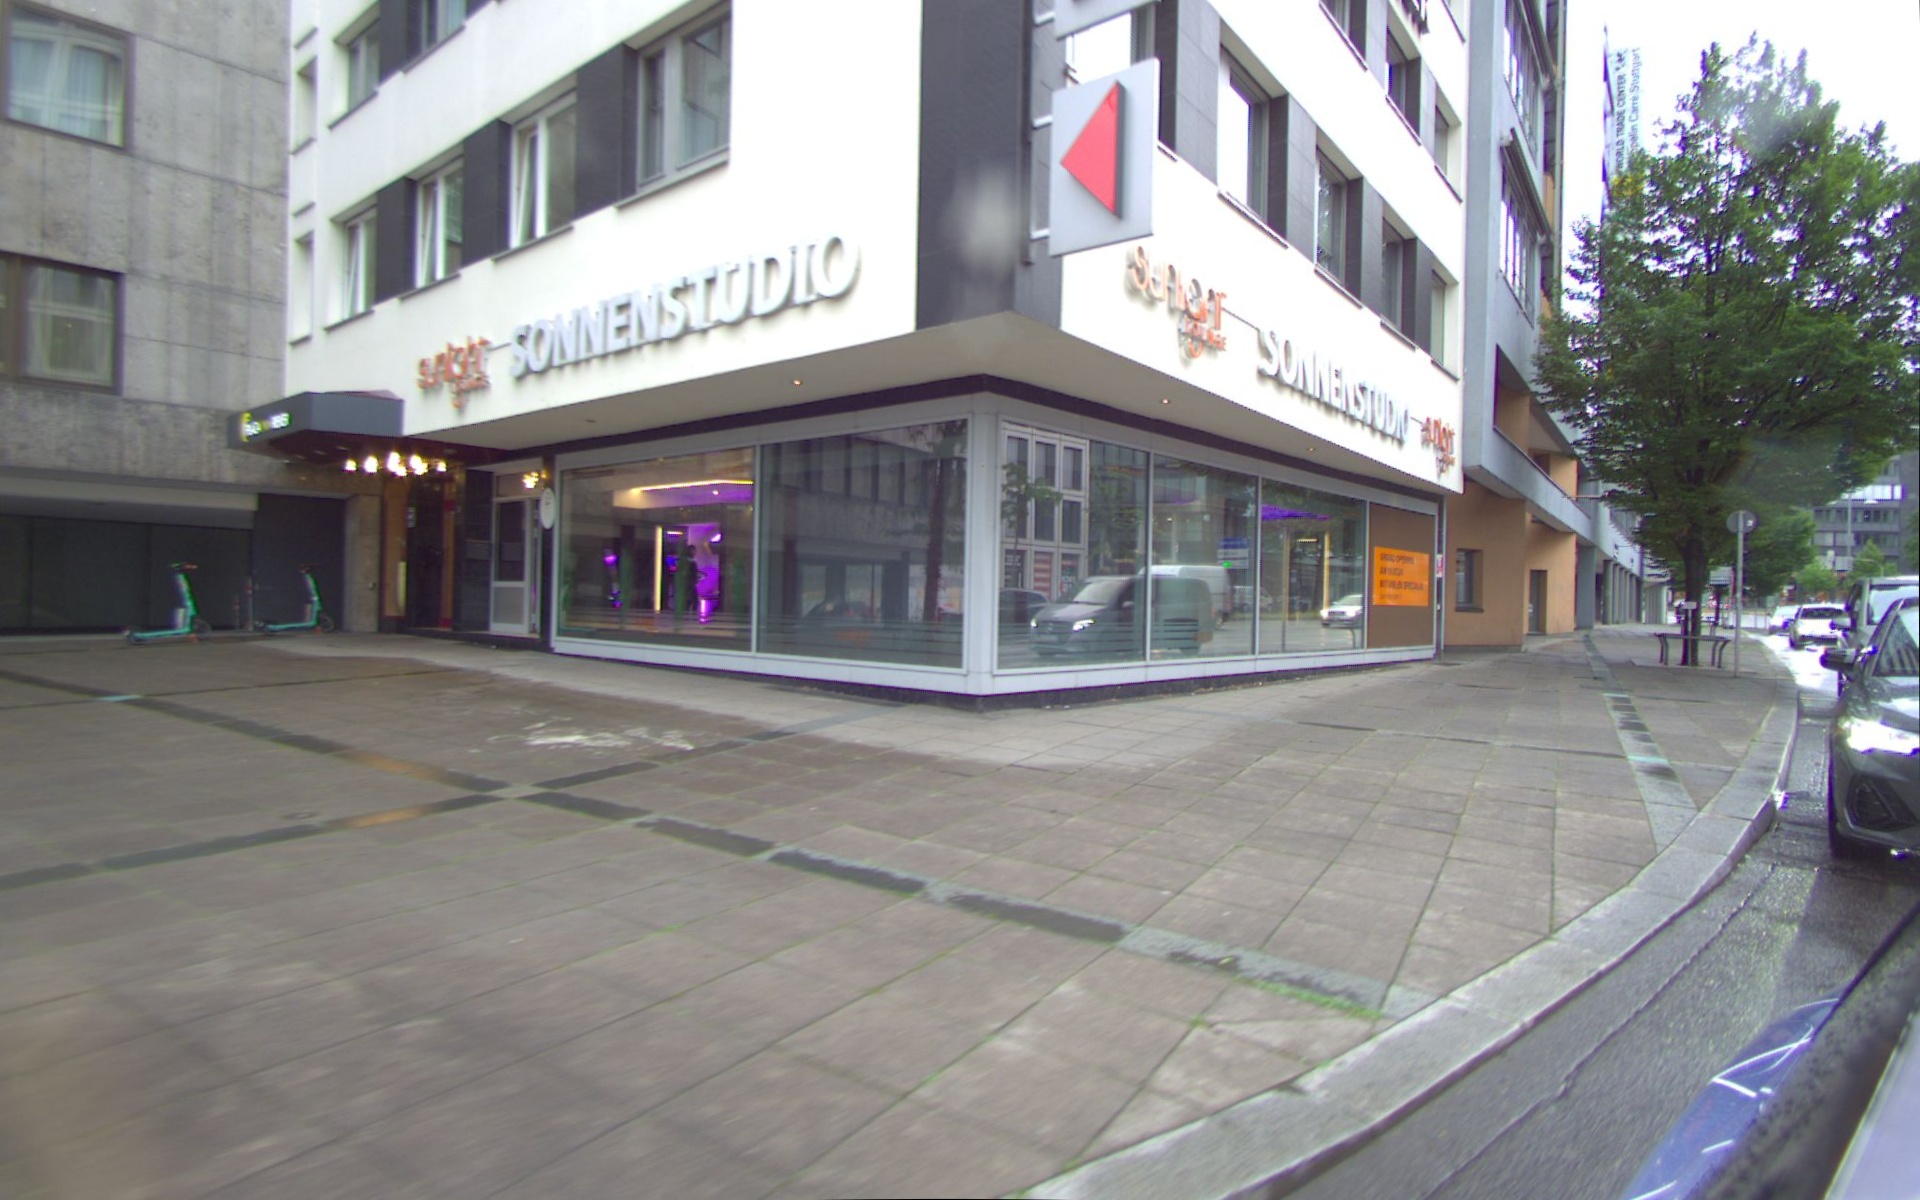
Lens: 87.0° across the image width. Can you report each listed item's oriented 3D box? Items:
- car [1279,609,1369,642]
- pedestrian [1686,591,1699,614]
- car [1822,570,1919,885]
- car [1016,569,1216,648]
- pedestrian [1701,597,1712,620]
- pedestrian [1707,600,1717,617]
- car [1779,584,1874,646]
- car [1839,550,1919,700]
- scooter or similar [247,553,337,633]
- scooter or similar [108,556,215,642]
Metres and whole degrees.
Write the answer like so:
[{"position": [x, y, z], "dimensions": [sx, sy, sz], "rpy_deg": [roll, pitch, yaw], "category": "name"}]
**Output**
[{"position": [15.689, 1.060, 43.702], "dimensions": [3.368, 1.347, 1.547], "rpy_deg": [0, 0, 36], "category": "car"}, {"position": [58.118, 0.215, 80.293], "dimensions": [0.789, 1.805, 0.883], "rpy_deg": [-1, -2, 35], "category": "pedestrian"}, {"position": [6.701, 0.604, 6.161], "dimensions": [4.316, 1.571, 1.799], "rpy_deg": [-1, 0, -44], "category": "car"}, {"position": [3.665, 0.140, 23.094], "dimensions": [4.846, 1.629, 1.995], "rpy_deg": [-1, 0, -44], "category": "car"}, {"position": [59.083, 0.663, 80.112], "dimensions": [0.638, 1.805, 0.868], "rpy_deg": [-1, -2, 38], "category": "pedestrian"}, {"position": [74.534, 0.816, 100.283], "dimensions": [0.649, 1.618, 1.047], "rpy_deg": [-1, 0, 32], "category": "pedestrian"}, {"position": [28.858, 0.441, 33.862], "dimensions": [2.049, 1.916, 4.982], "rpy_deg": [-1, 0, 37], "category": "car"}, {"position": [14.108, 0.286, 14.599], "dimensions": [2.051, 1.916, 4.976], "rpy_deg": [-1, 0, 40], "category": "car"}, {"position": [-11.619, -0.127, 17.620], "dimensions": [0.517, 1.354, 1.214], "rpy_deg": [-1, 0, 38], "category": "scooter or similar"}, {"position": [-12.330, -0.025, 15.649], "dimensions": [0.562, 1.268, 1.214], "rpy_deg": [3, 2, 38], "category": "scooter or similar"}]
